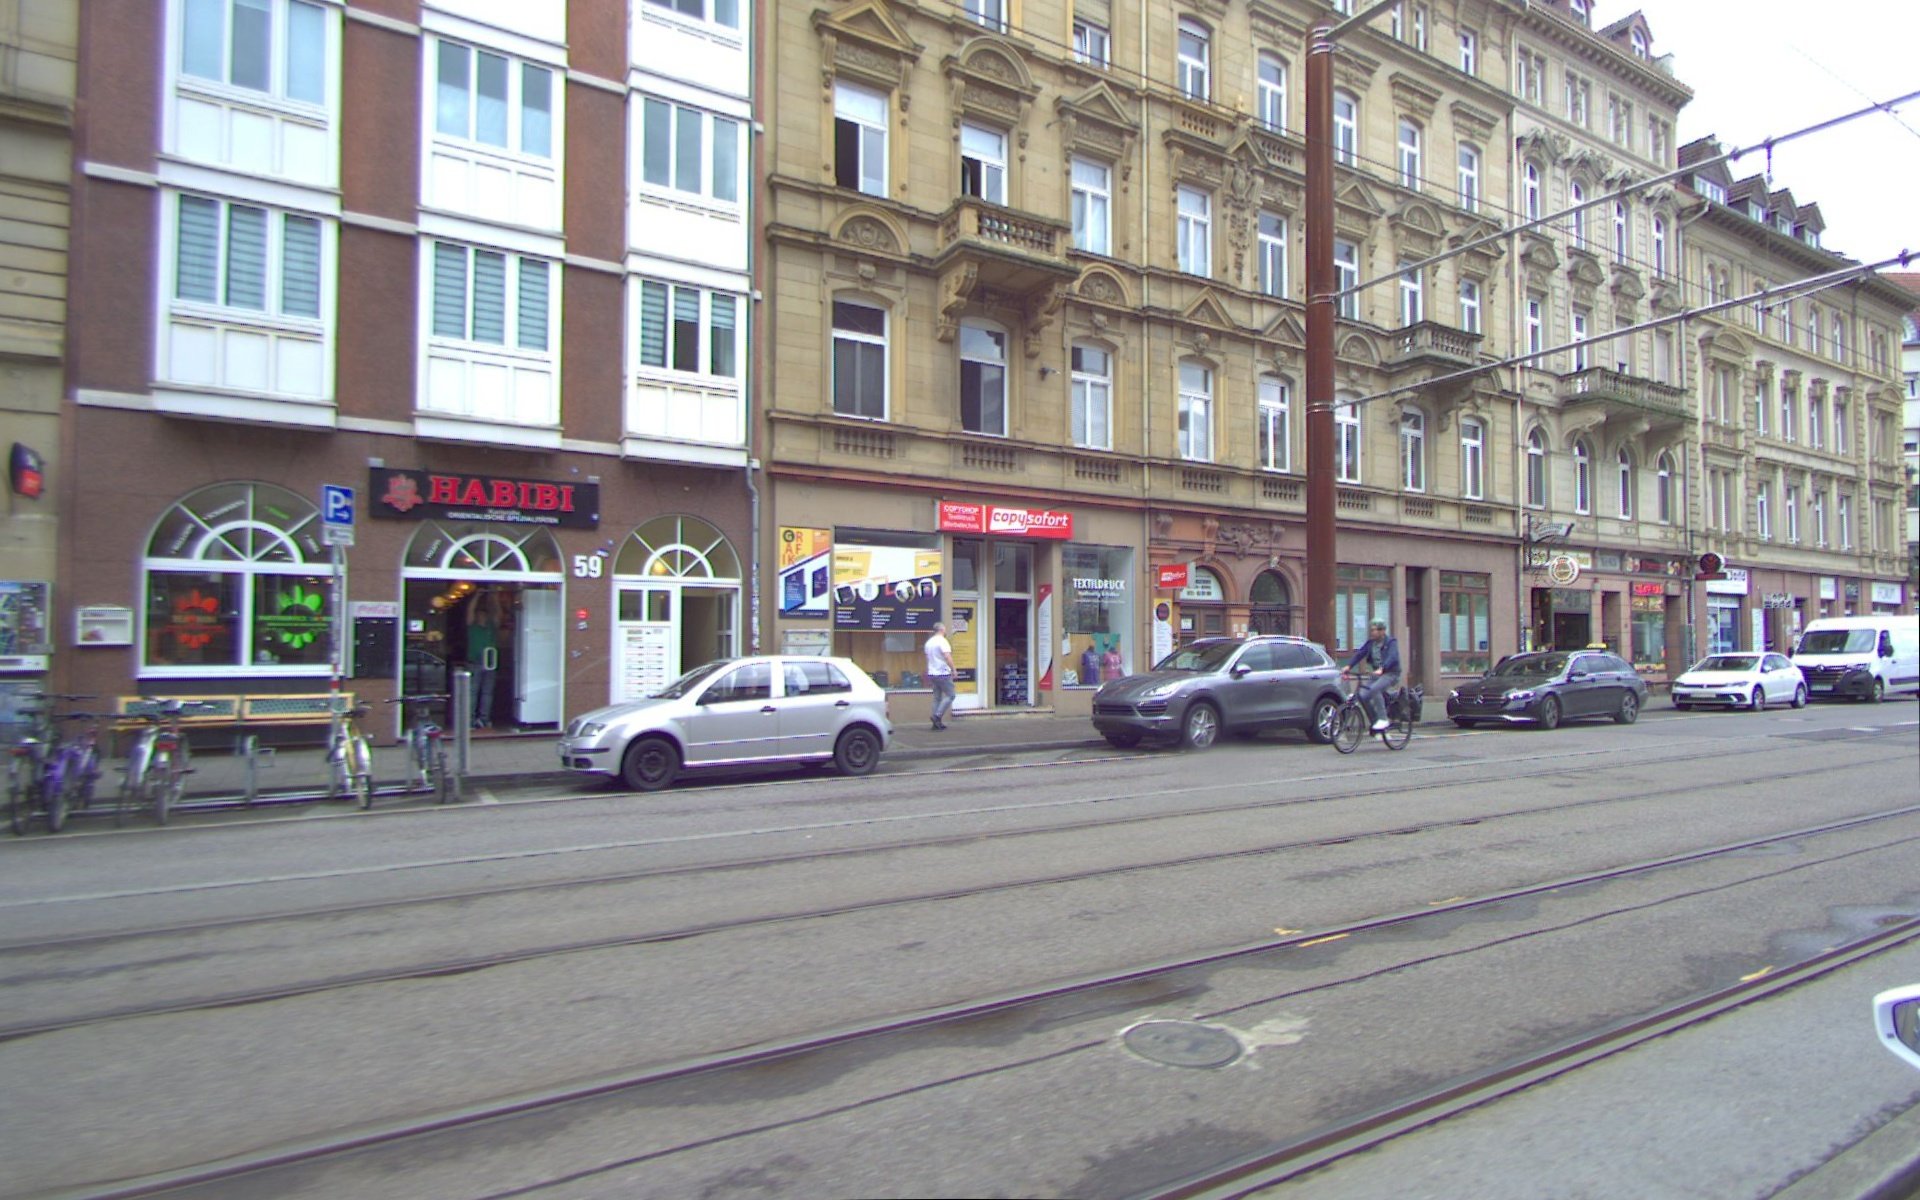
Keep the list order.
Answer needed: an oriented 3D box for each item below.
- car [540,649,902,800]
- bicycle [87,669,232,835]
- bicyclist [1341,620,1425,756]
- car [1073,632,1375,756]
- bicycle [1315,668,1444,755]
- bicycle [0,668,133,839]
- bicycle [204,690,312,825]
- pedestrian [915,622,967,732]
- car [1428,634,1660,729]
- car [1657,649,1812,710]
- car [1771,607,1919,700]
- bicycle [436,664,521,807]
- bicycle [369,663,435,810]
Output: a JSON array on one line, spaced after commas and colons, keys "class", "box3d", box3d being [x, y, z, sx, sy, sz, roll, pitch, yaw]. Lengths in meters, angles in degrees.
[{"class": "car", "box3d": [-2.803, 1.368, 11.999, 3.876, 1.507, 1.735, 1, -4, -31]}, {"class": "bicycle", "box3d": [-7.419, 1.342, 9.418, 0.658, 1.346, 2.273, 1, -5, -29]}, {"class": "bicyclist", "box3d": [6.144, 1.253, 14.607, 1.016, 1.908, 0.642, 2, -2, -29]}, {"class": "car", "box3d": [4.313, 1.418, 16.087, 4.978, 1.711, 1.803, 2, -4, -33]}, {"class": "bicycle", "box3d": [6.127, 1.591, 14.629, 2.020, 1.189, 0.583, 2, -5, -29]}, {"class": "bicycle", "box3d": [-8.128, 1.305, 9.010, 0.658, 1.346, 2.273, 1, -5, -29]}, {"class": "bicycle", "box3d": [-6.782, 1.457, 9.795, 0.612, 1.055, 2.272, 1, -3, -29]}, {"class": "pedestrian", "box3d": [-0.309, 1.287, 16.932, 0.769, 1.805, 0.655, 1, -2, 7]}, {"class": "car", "box3d": [11.873, 1.624, 20.334, 4.996, 1.710, 1.910, 2, -5, -32]}, {"class": "car", "box3d": [19.768, 2.006, 25.615, 4.119, 1.441, 1.762, 2, -5, -32]}, {"class": "car", "box3d": [26.408, 1.619, 29.586, 5.602, 2.518, 2.043, 2, -5, -32]}, {"class": "bicycle", "box3d": [-5.168, 1.380, 10.721, 0.658, 1.346, 2.273, 1, -5, -29]}, {"class": "bicycle", "box3d": [-5.771, 1.352, 10.390, 0.515, 1.346, 2.273, 1, -5, -29]}]
